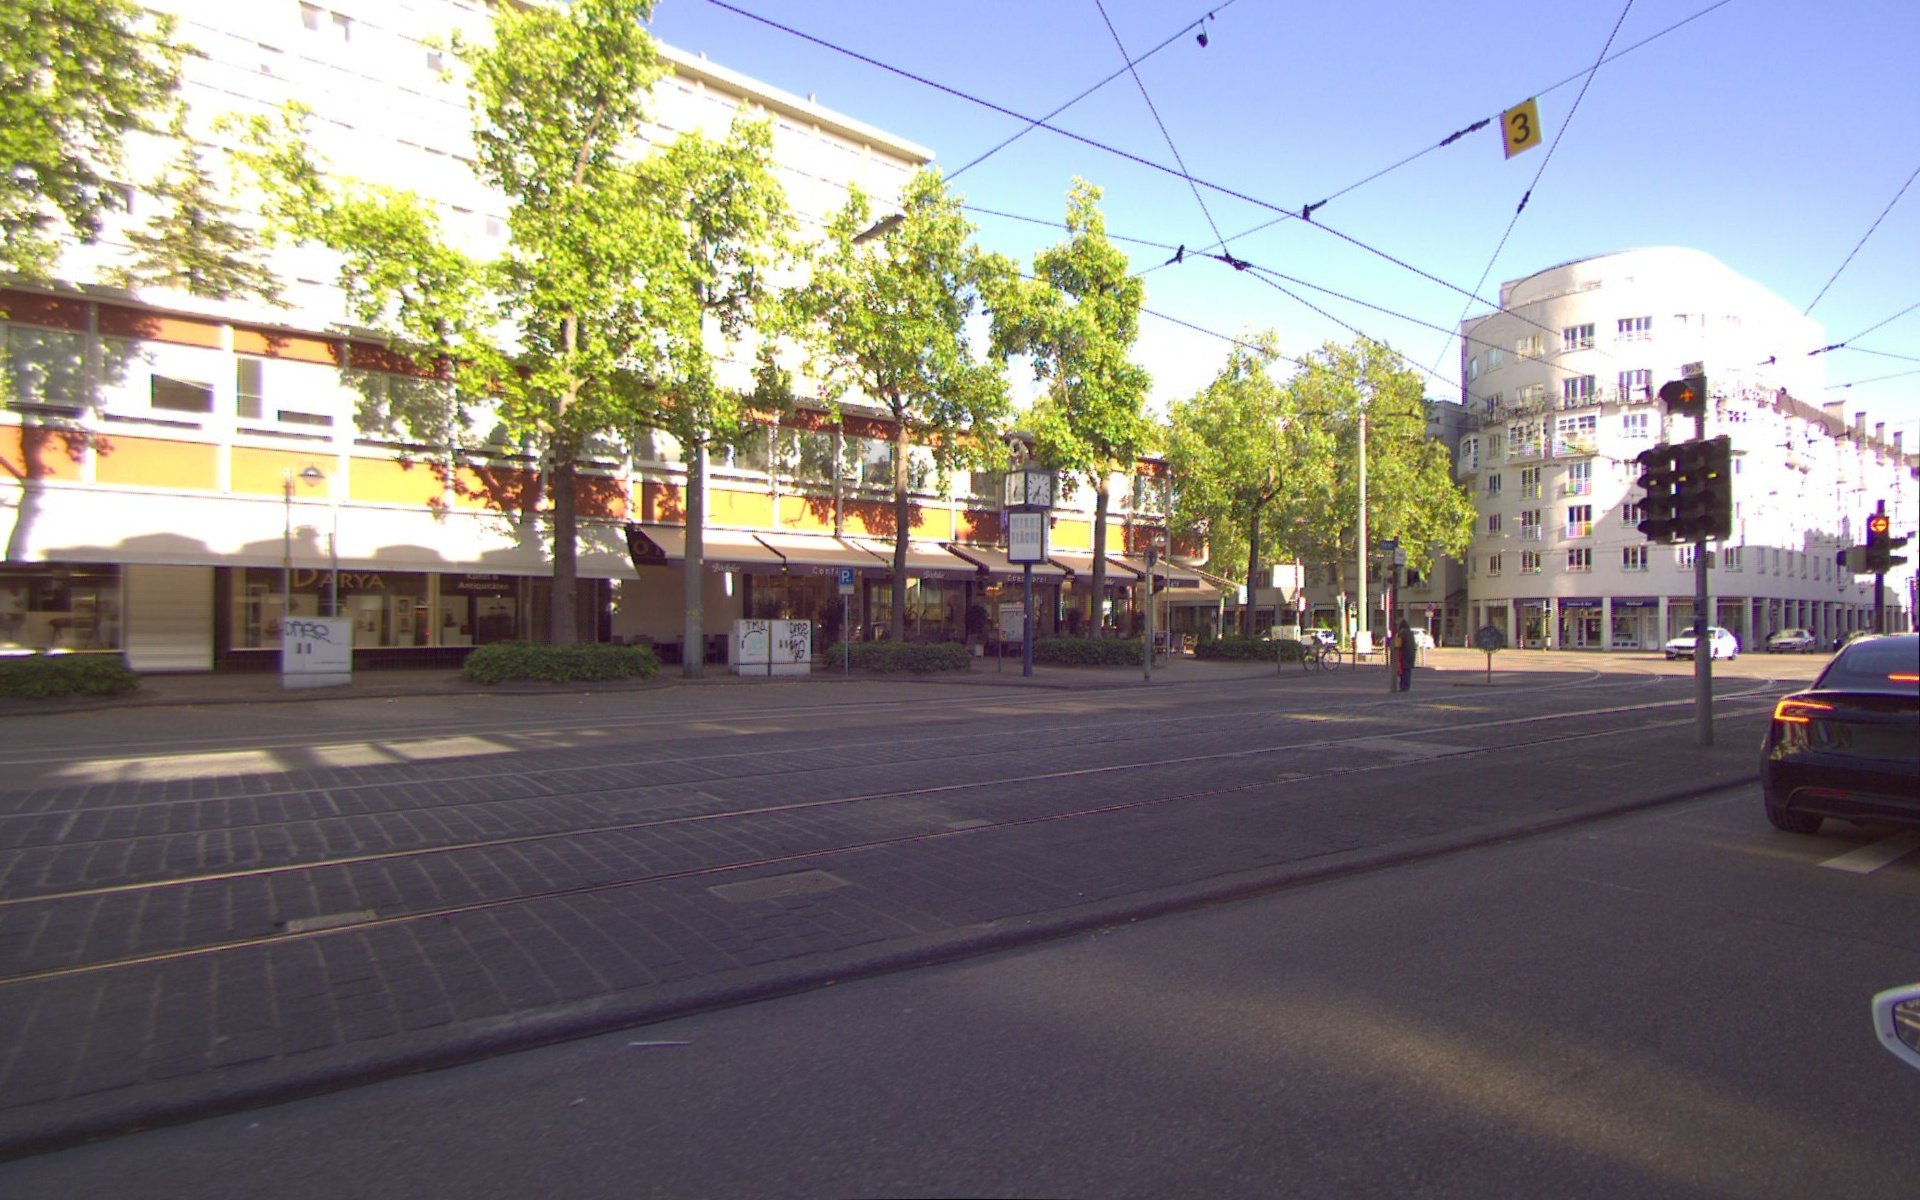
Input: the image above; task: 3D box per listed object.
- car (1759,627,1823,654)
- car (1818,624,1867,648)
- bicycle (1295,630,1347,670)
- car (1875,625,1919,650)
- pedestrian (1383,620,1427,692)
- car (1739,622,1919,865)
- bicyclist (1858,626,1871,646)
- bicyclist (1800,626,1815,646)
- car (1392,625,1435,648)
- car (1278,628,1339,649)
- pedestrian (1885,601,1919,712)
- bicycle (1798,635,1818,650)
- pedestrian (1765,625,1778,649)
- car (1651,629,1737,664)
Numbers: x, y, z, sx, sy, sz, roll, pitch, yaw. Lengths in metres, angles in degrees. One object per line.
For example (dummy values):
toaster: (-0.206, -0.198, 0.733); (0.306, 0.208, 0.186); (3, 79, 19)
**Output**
car: (48.393, 2.337, 58.468); (4.610, 1.471, 1.978); (1, -2, -39)
car: (62.294, 2.551, 70.896); (3.967, 1.617, 1.977); (3, -3, -39)
bicycle: (11.428, 1.562, 31.766); (2.216, 1.202, 0.493); (1, -1, -39)
car: (75.479, 2.982, 80.678); (4.568, 1.936, 2.210); (2, -1, -38)
pedestrian: (9.733, 1.208, 21.956); (0.851, 1.537, 0.496); (1, -3, -37)
car: (7.444, 0.925, 7.333); (4.116, 1.443, 1.797); (1, 0, -38)
bicyclist: (68.300, 2.694, 75.811); (0.920, 1.507, 0.584); (3, -2, -39)
bicyclist: (56.227, 2.407, 66.630); (0.983, 1.302, 0.584); (2, -2, -37)
car: (31.518, 2.484, 69.743); (1.776, 1.422, 4.083); (0, 0, 39)
car: (25.257, 2.768, 72.944); (1.784, 1.422, 3.972); (-1, 0, -33)
pedestrian: (15.784, 0.924, 16.580); (0.887, 1.786, 0.554); (1, -3, -37)
bicycle: (56.196, 2.803, 66.586); (1.837, 0.985, 0.590); (3, -2, -36)
pedestrian: (52.627, 2.404, 65.153); (0.434, 1.555, 0.684); (0, 0, 16)
car: (32.198, 2.002, 44.050); (4.463, 1.471, 1.978); (1, -2, -39)
